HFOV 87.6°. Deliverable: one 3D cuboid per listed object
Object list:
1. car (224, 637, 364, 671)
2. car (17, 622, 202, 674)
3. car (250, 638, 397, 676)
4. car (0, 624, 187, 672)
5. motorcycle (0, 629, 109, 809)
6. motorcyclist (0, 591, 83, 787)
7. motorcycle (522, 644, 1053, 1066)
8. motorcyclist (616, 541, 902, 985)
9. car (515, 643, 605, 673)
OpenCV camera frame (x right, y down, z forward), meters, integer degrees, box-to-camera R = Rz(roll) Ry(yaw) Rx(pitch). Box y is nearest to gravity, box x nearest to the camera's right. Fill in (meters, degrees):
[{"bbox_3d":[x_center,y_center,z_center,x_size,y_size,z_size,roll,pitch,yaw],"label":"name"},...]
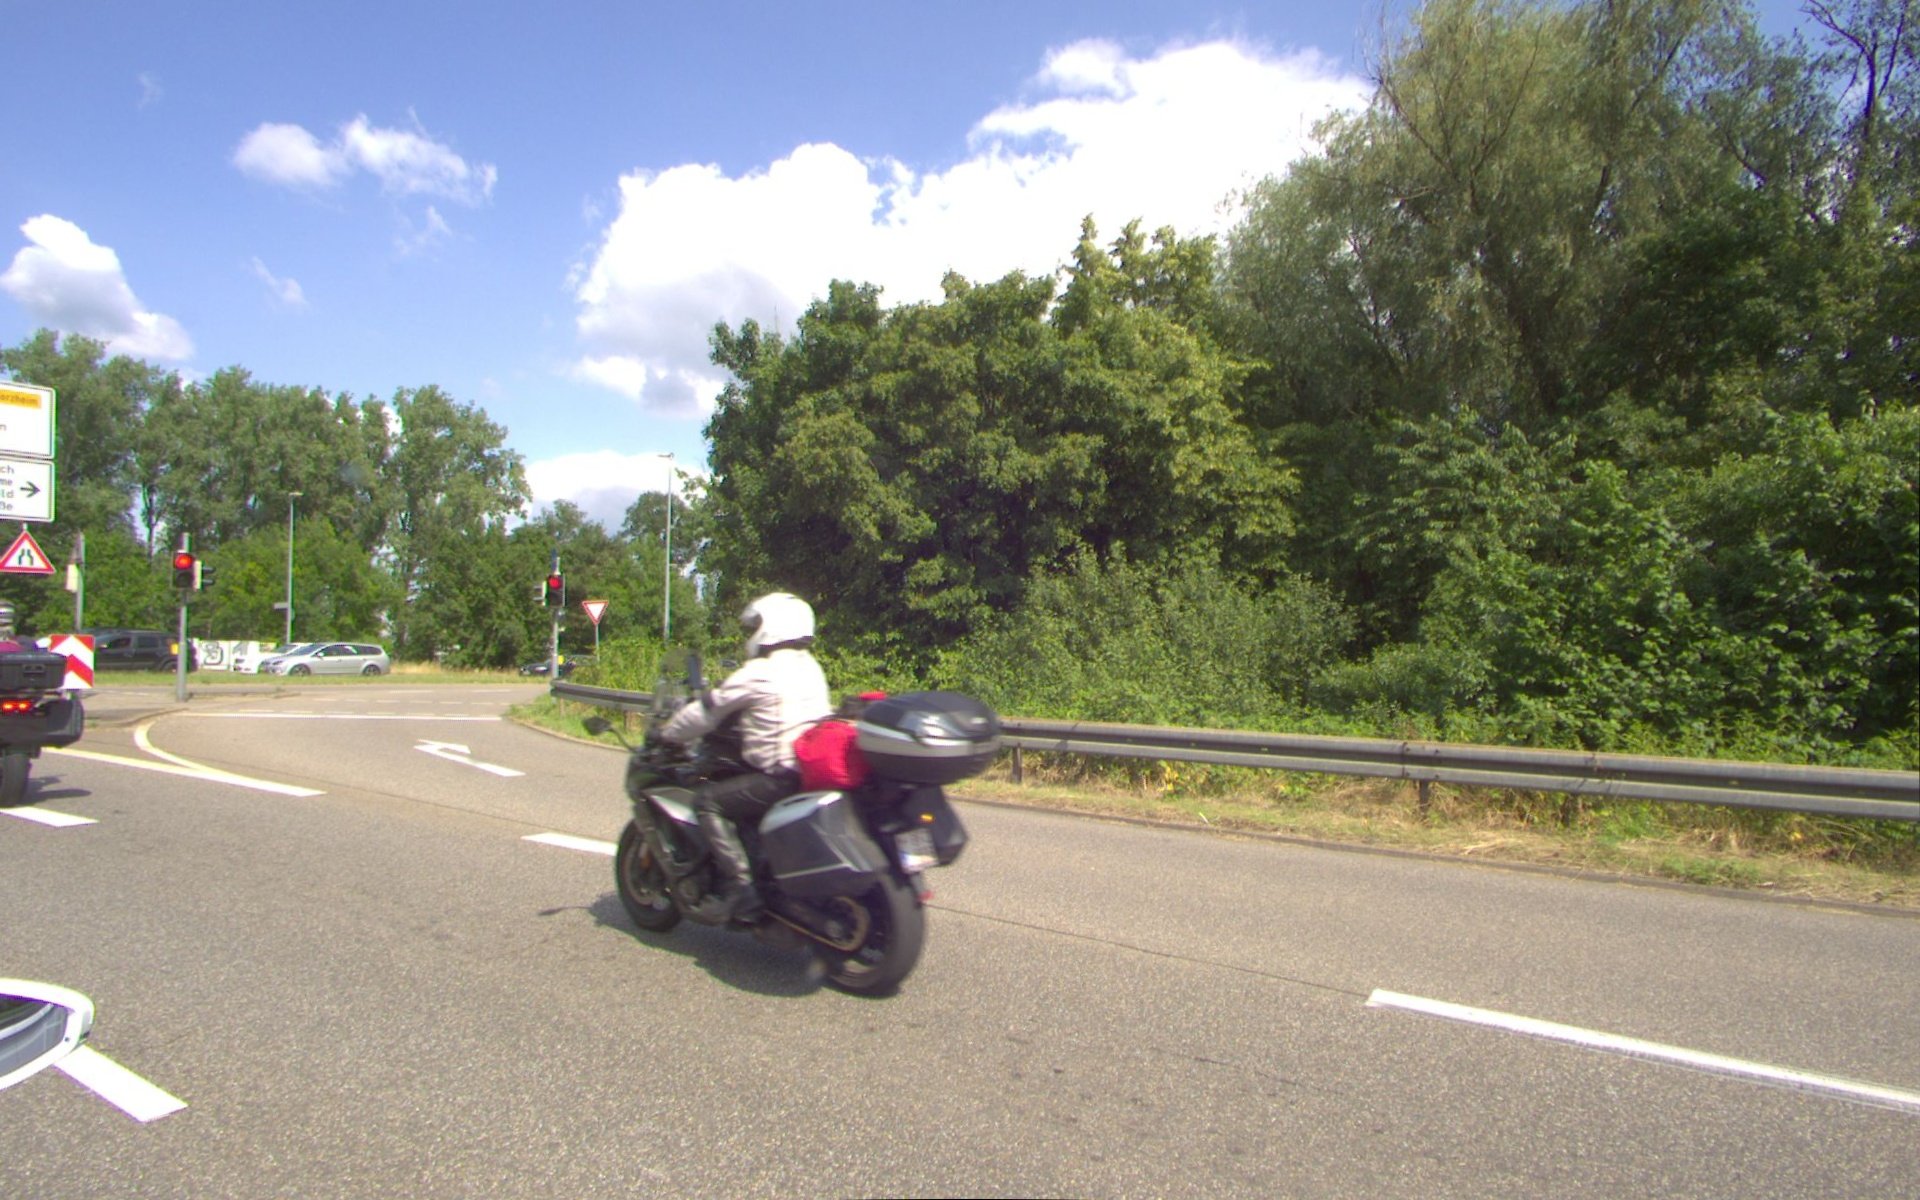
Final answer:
[{"bbox_3d":[-27.147,2.207,40.973,1.710,1.297,4.491,0,-3,29],"label":"car"},{"bbox_3d":[-27.543,1.562,32.582,1.711,1.564,4.264,0,-3,31],"label":"car"},{"bbox_3d":[-24.193,2.150,38.259,1.710,1.337,4.471,0,-3,29],"label":"car"},{"bbox_3d":[-30.393,1.695,35.186,1.711,1.564,4.842,0,-3,31],"label":"car"},{"bbox_3d":[-8.366,0.951,8.600,2.336,1.401,0.935,-1,-2,32],"label":"motorcycle"},{"bbox_3d":[-8.337,0.741,8.590,1.068,1.611,0.935,0,-2,32],"label":"motorcyclist"},{"bbox_3d":[-0.832,0.925,4.458,2.336,1.406,0.864,0,-2,32],"label":"motorcycle"},{"bbox_3d":[-0.883,0.650,4.498,0.881,1.722,0.864,0,-2,32],"label":"motorcyclist"},{"bbox_3d":[-20.876,3.026,52.391,1.710,1.495,4.222,0,-3,29],"label":"car"}]
